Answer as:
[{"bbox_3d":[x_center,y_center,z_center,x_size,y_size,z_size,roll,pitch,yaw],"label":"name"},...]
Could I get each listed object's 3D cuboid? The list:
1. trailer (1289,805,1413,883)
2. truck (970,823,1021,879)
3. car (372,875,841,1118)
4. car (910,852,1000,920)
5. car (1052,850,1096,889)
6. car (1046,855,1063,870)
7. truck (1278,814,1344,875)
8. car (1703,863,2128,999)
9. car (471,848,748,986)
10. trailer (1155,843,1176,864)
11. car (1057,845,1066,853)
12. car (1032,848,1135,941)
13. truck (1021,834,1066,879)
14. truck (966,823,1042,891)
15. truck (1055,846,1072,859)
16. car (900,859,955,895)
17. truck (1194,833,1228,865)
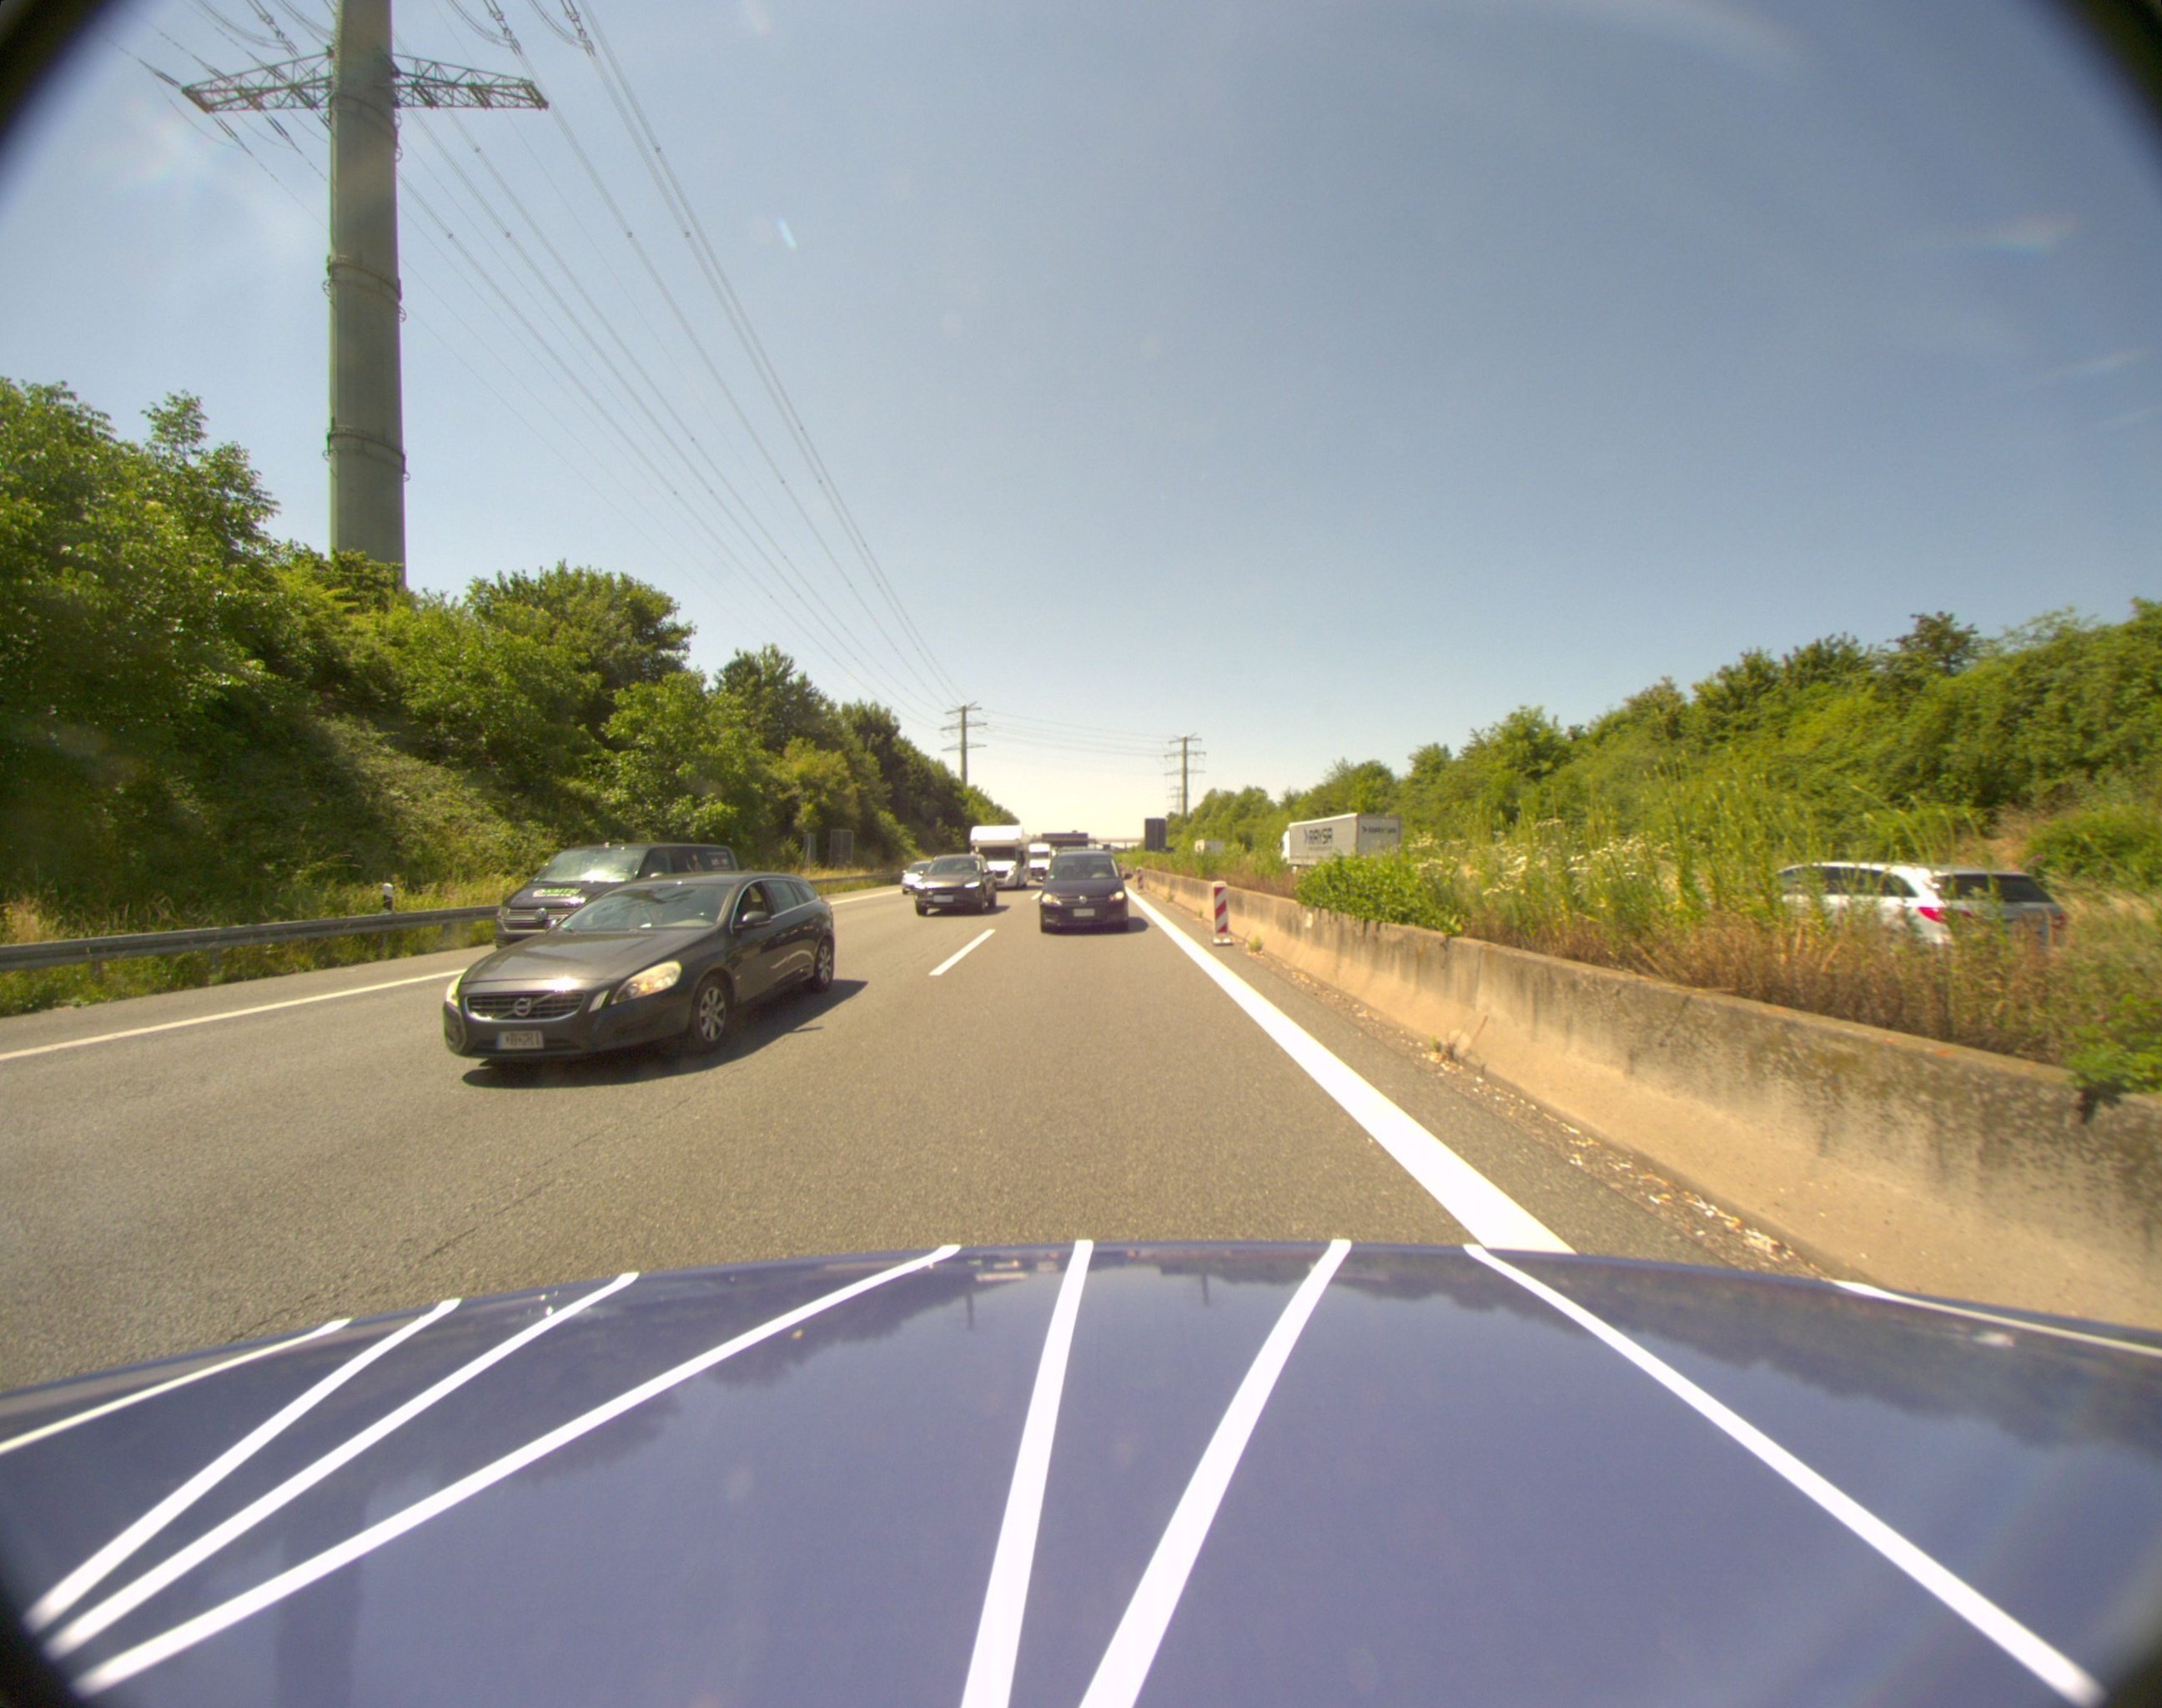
[{"bbox_3d":[16.723,-0.604,48.684,3.024,4.143,14.019,2,0,1],"label":"trailer"},{"bbox_3d":[-6.978,-0.263,63.716,2.655,4.128,11.660,-2,1,1],"label":"truck"},{"bbox_3d":[-3.854,1.015,7.230,1.800,1.429,4.230,-2,0,-1],"label":"car"},{"bbox_3d":[-3.525,0.842,22.110,1.892,1.693,4.383,-2,1,-1],"label":"car"},{"bbox_3d":[-0.361,0.685,36.414,1.892,1.693,4.382,-2,1,-1],"label":"car"},{"bbox_3d":[-3.198,1.023,93.317,1.892,1.693,4.383,-2,1,-1],"label":"car"},{"bbox_3d":[16.825,-0.665,56.018,3.024,4.143,5.805,2,1,1],"label":"truck"},{"bbox_3d":[11.378,0.925,10.875,1.707,1.524,4.000,0,0,0],"label":"car"},{"bbox_3d":[-7.761,0.883,13.192,1.788,1.893,4.697,-2,1,0],"label":"car"},{"bbox_3d":[17.294,-0.137,156.328,2.759,4.143,14.196,2,0,1],"label":"trailer"},{"bbox_3d":[-5.120,-1.221,196.715,1.998,2.002,4.000,-2,1,1],"label":"car"},{"bbox_3d":[0.015,0.754,16.533,1.892,1.693,4.383,-2,1,-1],"label":"car"},{"bbox_3d":[-2.687,0.107,57.334,2.514,2.997,9.897,-2,0,2],"label":"truck"},{"bbox_3d":[-3.743,0.092,39.181,2.514,2.997,9.897,-2,0,2],"label":"truck"},{"bbox_3d":[-2.986,-0.287,129.368,2.408,2.203,6.744,-2,0,2],"label":"truck"},{"bbox_3d":[-7.024,1.020,35.168,1.800,1.429,3.730,-2,1,-1],"label":"car"},{"bbox_3d":[16.742,-0.695,98.462,2.769,3.866,9.029,2,0,0],"label":"truck"}]
